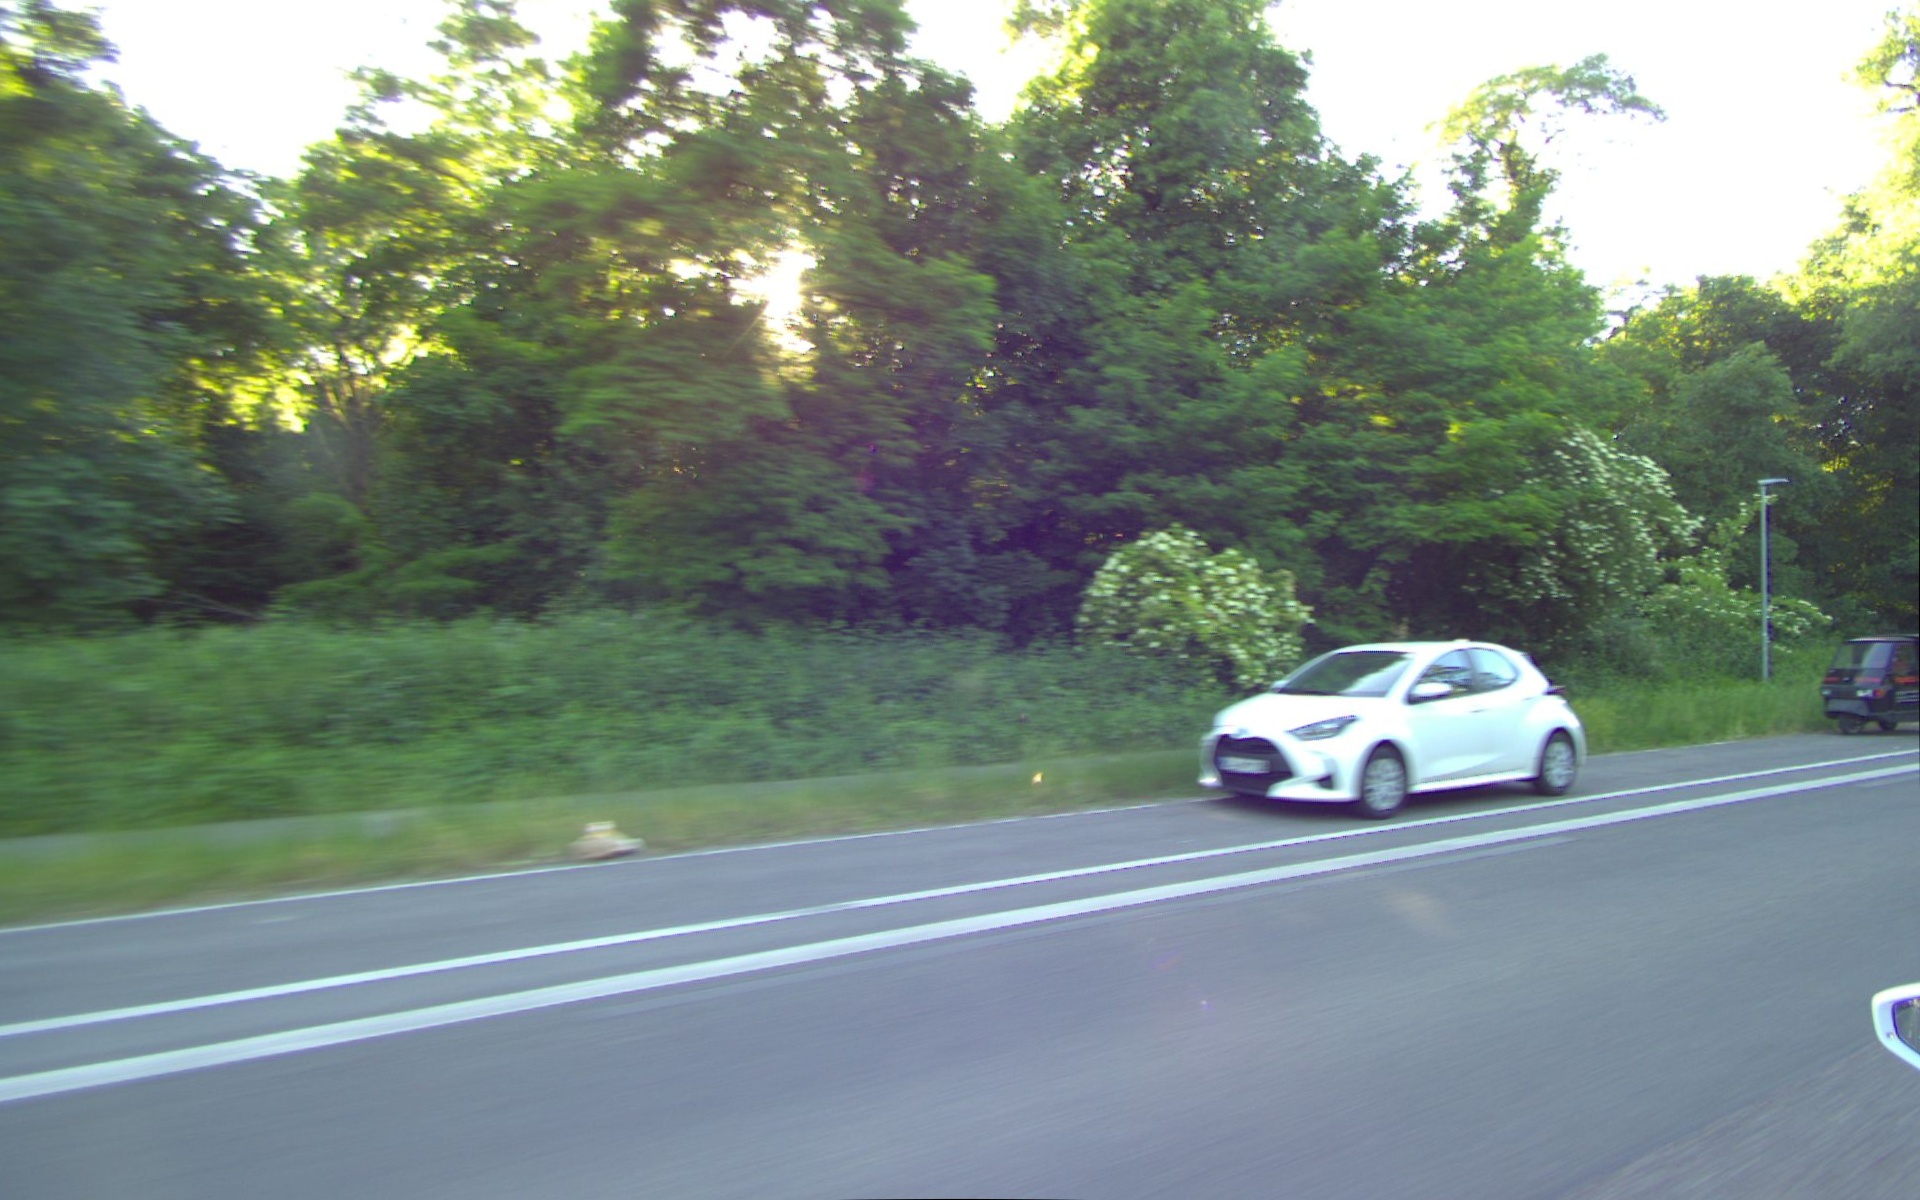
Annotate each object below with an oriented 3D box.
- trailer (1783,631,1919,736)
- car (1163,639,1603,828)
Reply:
[{"bbox_3d":[15.165,1.318,16.327,2.626,1.595,1.398,1,-1,-10],"label":"trailer"},{"bbox_3d":[4.121,1.140,9.697,4.023,1.469,1.859,1,-4,-30],"label":"car"}]
